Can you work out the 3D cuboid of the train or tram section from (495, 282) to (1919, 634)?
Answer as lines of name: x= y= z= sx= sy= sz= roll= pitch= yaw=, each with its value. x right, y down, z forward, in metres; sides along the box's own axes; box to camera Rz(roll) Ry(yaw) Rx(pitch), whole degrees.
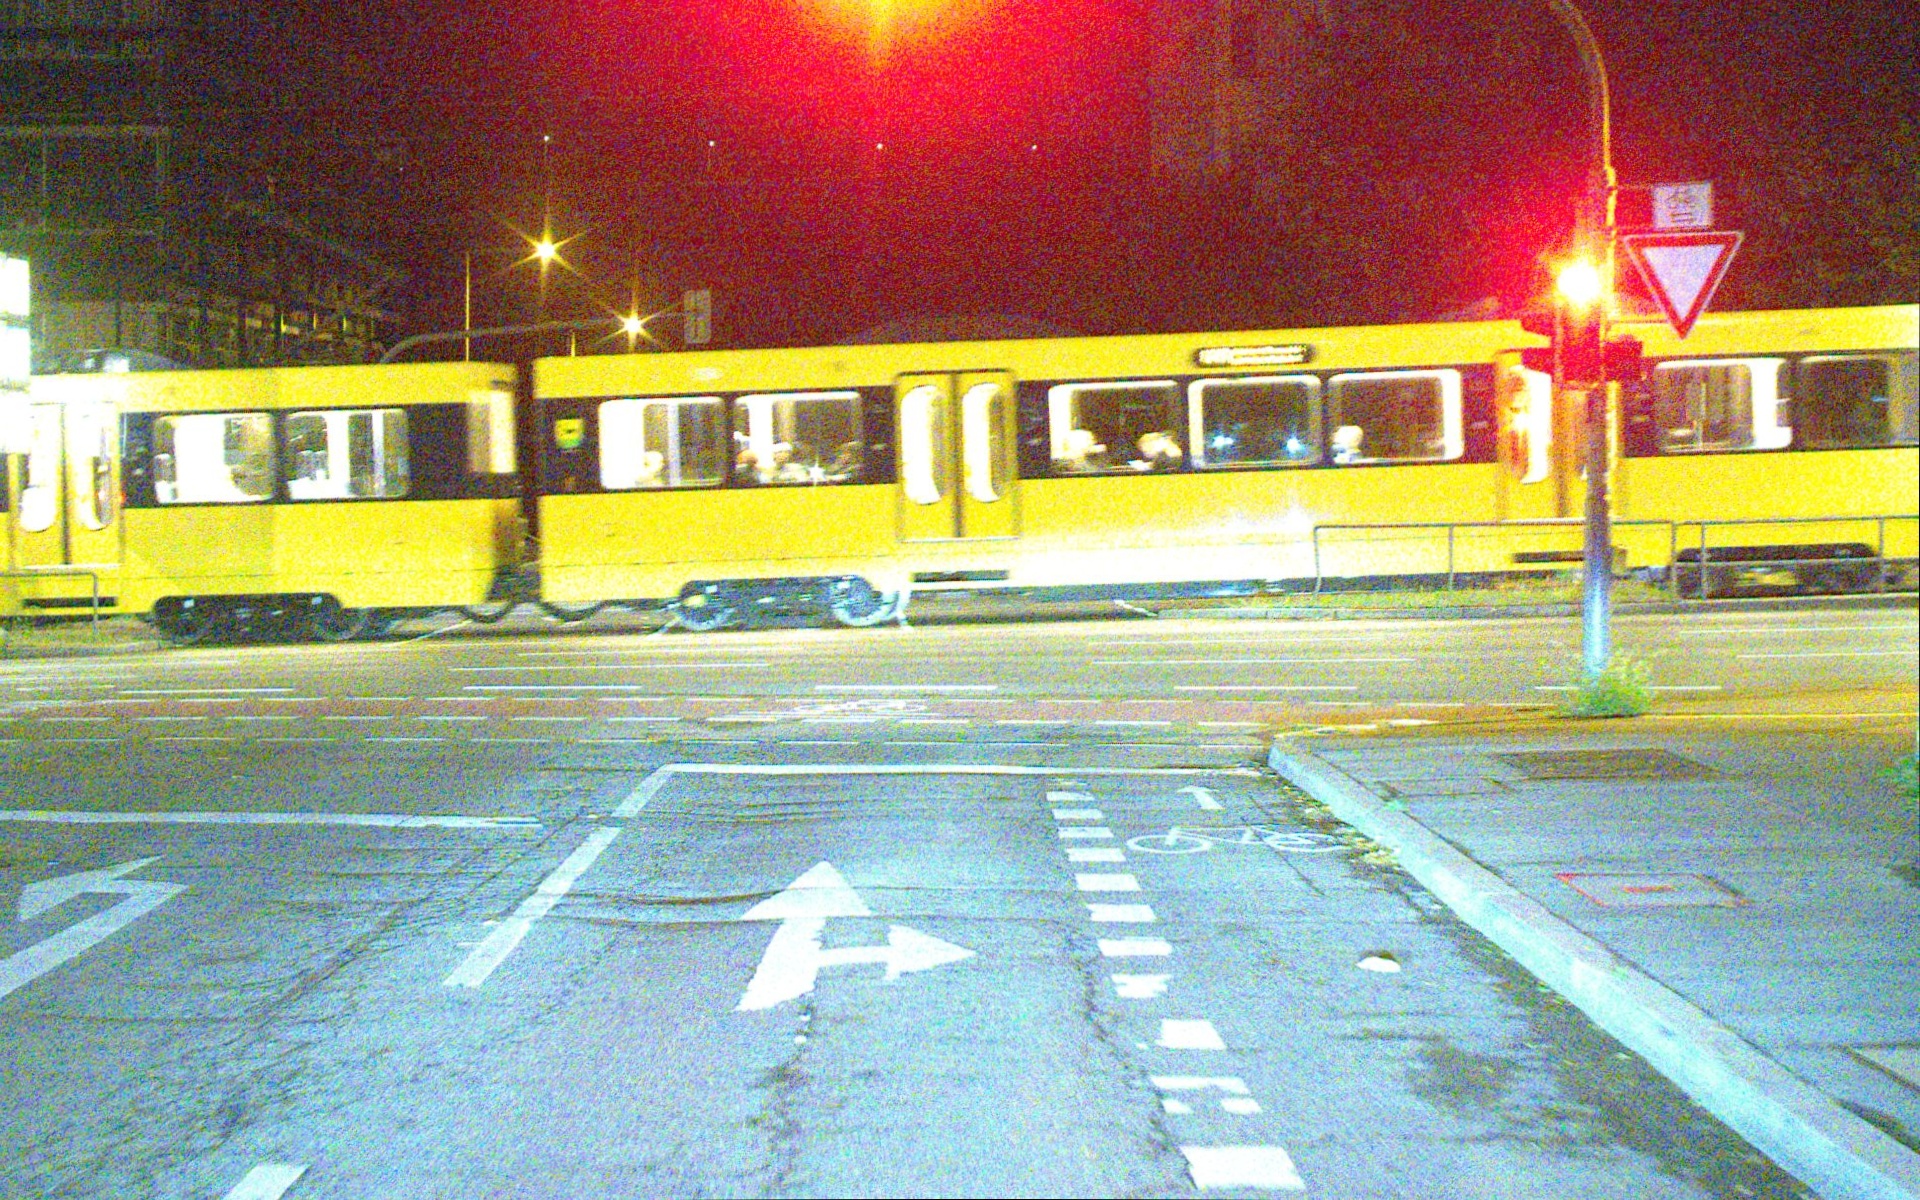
train or tram section: x=4.043 y=-1.713 z=42.497 sx=19.177 sy=3.810 sz=2.923 roll=-1 pitch=1 yaw=6

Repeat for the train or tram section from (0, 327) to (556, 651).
train or tram section: x=-15.310 y=-1.257 z=44.384 sx=19.797 sy=3.848 sz=2.940 roll=-1 pitch=1 yaw=6

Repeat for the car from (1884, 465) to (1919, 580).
car: x=16.001 y=-1.254 z=49.960 sx=4.614 sy=1.634 sz=2.000 roll=-3 pitch=1 yaw=5
